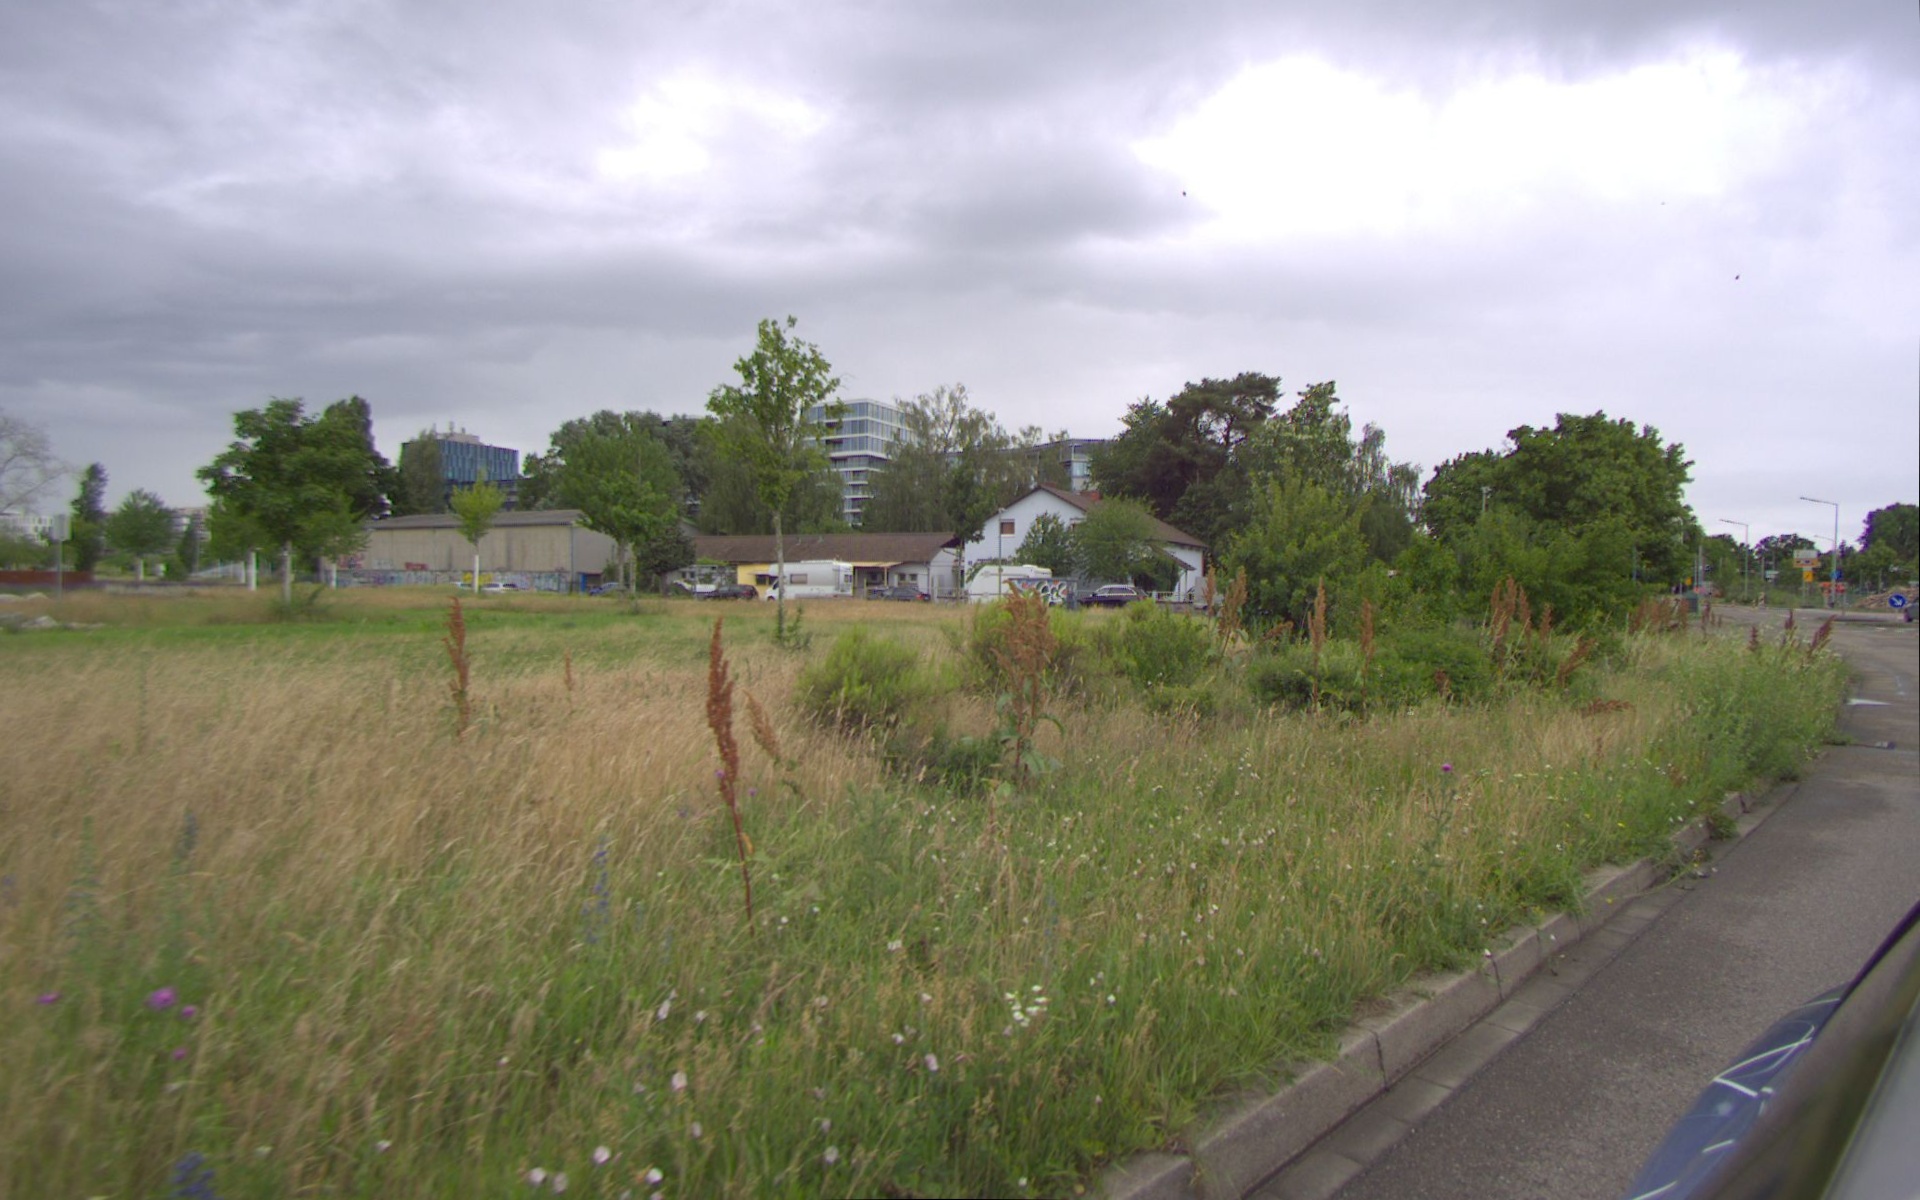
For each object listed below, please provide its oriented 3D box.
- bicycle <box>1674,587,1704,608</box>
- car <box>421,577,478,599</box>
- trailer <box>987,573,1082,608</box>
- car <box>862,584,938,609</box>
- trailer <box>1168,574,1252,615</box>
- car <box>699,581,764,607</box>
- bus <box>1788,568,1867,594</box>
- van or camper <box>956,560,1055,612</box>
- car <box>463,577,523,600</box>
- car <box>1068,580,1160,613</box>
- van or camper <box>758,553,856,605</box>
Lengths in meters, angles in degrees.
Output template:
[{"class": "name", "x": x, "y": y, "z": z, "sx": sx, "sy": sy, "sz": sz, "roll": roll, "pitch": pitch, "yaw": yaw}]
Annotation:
[{"class": "bicycle", "x": 38.371, "y": -0.141, "z": 53.260, "sx": 1.917, "sy": 1.125, "sz": 0.797, "roll": 0, "pitch": 1, "yaw": -39}, {"class": "car", "x": -41.482, "y": -1.000, "z": 82.239, "sx": 4.341, "sy": 1.594, "sz": 1.979, "roll": 1, "pitch": -2, "yaw": 29}, {"class": "trailer", "x": 3.493, "y": -0.450, "z": 47.517, "sx": 4.079, "sy": 1.552, "sz": 1.742, "roll": 1, "pitch": 0, "yaw": 26}, {"class": "car", "x": -3.639, "y": -0.240, "z": 61.047, "sx": 4.250, "sy": 1.402, "sz": 1.894, "roll": 1, "pitch": 1, "yaw": 28}, {"class": "trailer", "x": 12.966, "y": -0.306, "z": 52.473, "sx": 3.962, "sy": 2.039, "sz": 1.627, "roll": 1, "pitch": 0, "yaw": 28}, {"class": "car", "x": -15.284, "y": -0.421, "z": 67.773, "sx": 3.900, "sy": 1.594, "sz": 1.979, "roll": 1, "pitch": -2, "yaw": 29}, {"class": "bus", "x": 139.466, "y": -2.959, "z": 162.898, "sx": 2.677, "sy": 4.032, "sz": 9.911, "roll": 1, "pitch": 0, "yaw": -15}, {"class": "van or camper", "x": 2.609, "y": -0.827, "z": 57.845, "sx": 5.135, "sy": 2.868, "sz": 2.391, "roll": 1, "pitch": 0, "yaw": 30}, {"class": "car", "x": -36.544, "y": -0.888, "z": 79.185, "sx": 4.552, "sy": 1.594, "sz": 1.979, "roll": 1, "pitch": -2, "yaw": 29}, {"class": "car", "x": 8.280, "y": -0.182, "z": 54.512, "sx": 4.551, "sy": 1.660, "sz": 1.980, "roll": 1, "pitch": 0, "yaw": 28}, {"class": "van or camper", "x": -9.794, "y": -1.353, "z": 64.586, "sx": 6.016, "sy": 3.151, "sz": 2.250, "roll": 1, "pitch": 0, "yaw": 27}]
